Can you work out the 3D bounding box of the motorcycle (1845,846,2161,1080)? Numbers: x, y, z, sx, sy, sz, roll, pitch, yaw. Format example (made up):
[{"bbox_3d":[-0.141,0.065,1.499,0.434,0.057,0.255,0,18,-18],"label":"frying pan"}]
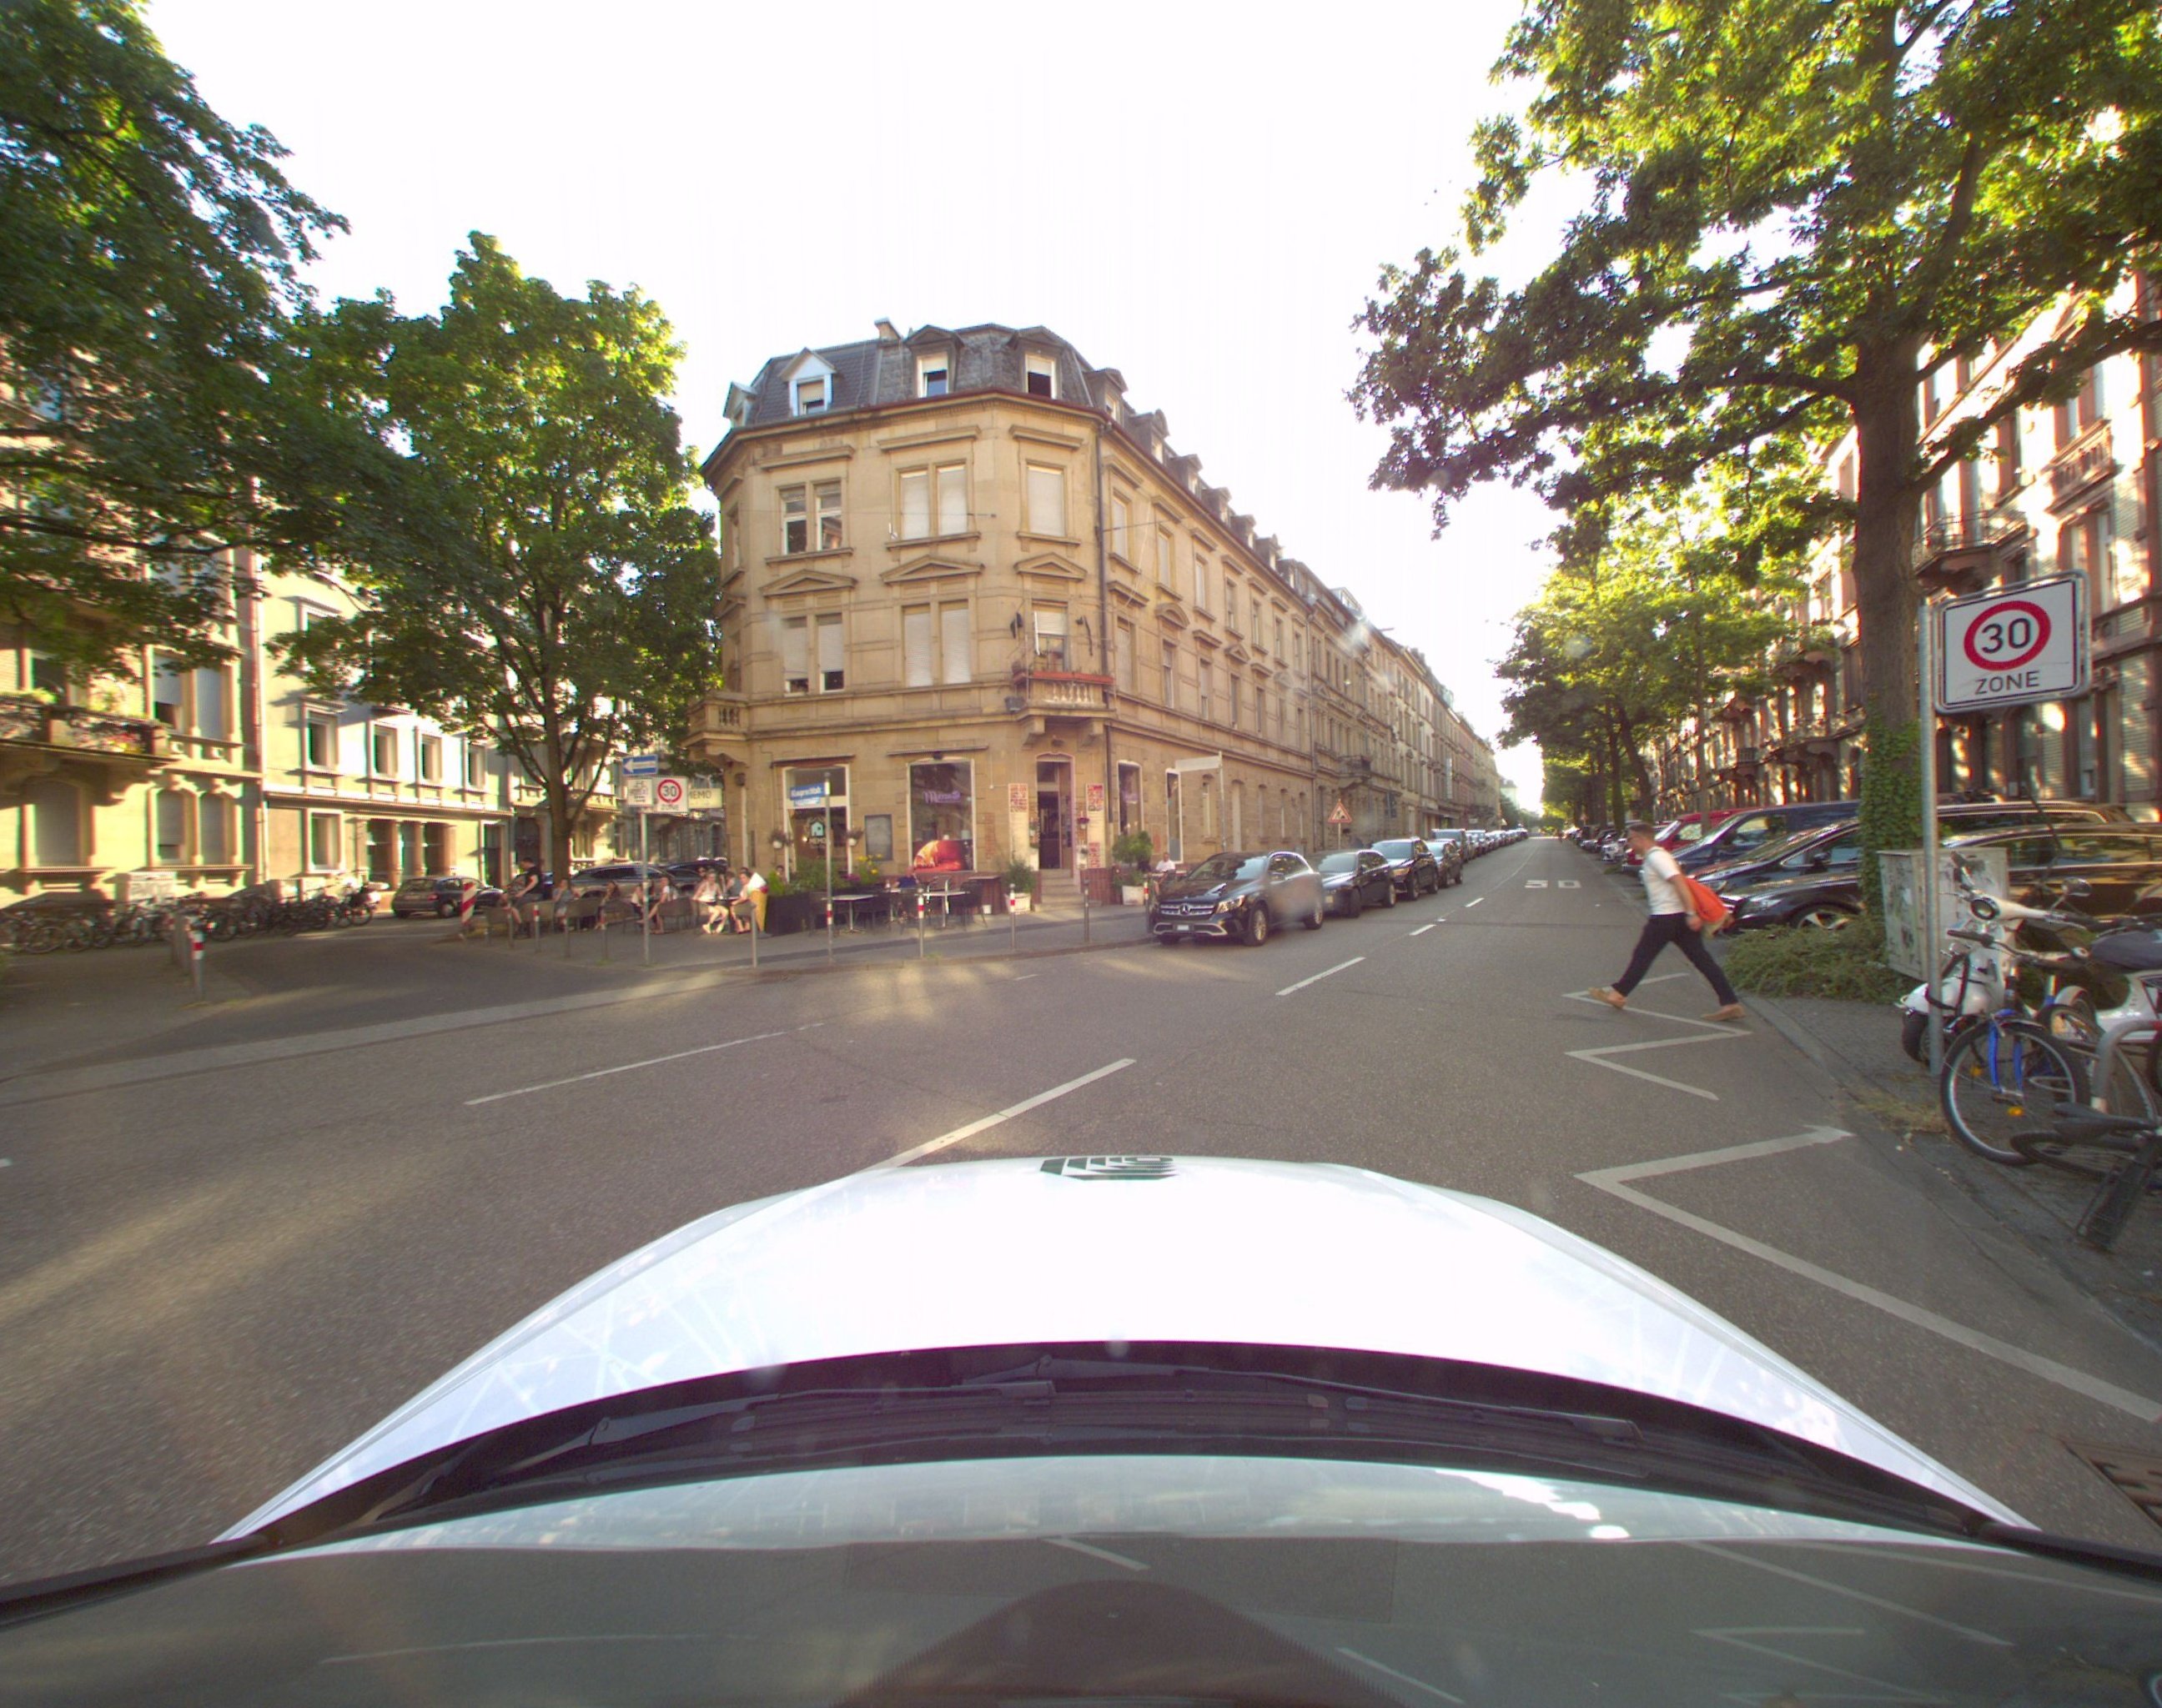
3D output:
[{"bbox_3d":[5.887,0.607,4.771,1.879,1.234,0.690,-5,-1,31],"label":"motorcycle"}]

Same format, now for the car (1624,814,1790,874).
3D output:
[{"bbox_3d":[20.539,-0.299,26.984,4.145,1.628,1.849,-4,-1,34],"label":"car"}]

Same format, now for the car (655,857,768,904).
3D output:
[{"bbox_3d":[-15.176,1.066,33.465,4.012,1.684,1.981,-2,0,-30],"label":"car"}]

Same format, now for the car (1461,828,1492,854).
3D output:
[{"bbox_3d":[29.848,-1.020,61.372,1.742,1.841,4.558,-3,0,29],"label":"car"}]

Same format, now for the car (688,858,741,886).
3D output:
[{"bbox_3d":[-23.603,1.118,52.612,1.803,1.684,3.747,-2,0,-3],"label":"car"}]

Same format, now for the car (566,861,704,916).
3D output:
[{"bbox_3d":[-14.873,1.106,27.211,3.852,1.562,1.784,-2,0,-35],"label":"car"}]

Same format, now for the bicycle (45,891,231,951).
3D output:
[{"bbox_3d":[-21.602,1.518,18.701,3.121,1.180,0.751,-2,0,-5],"label":"bicycle"}]

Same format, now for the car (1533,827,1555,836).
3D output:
[{"bbox_3d":[102.737,-4.950,180.640,3.948,1.859,1.762,-1,1,39],"label":"car"}]

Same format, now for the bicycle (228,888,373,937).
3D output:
[{"bbox_3d":[-21.816,1.622,22.814,3.121,1.180,0.751,-2,0,-5],"label":"bicycle"}]

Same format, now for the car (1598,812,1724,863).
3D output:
[{"bbox_3d":[26.683,-0.751,37.654,4.401,1.924,1.862,-5,0,28],"label":"car"}]

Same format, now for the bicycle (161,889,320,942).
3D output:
[{"bbox_3d":[-21.758,1.579,21.126,3.121,1.180,0.751,-2,0,-5],"label":"bicycle"}]

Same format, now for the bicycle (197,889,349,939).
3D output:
[{"bbox_3d":[-21.757,1.599,21.972,3.121,1.180,0.751,-2,0,-5],"label":"bicycle"}]

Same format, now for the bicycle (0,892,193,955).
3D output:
[{"bbox_3d":[-21.570,1.504,17.853,3.121,1.180,0.751,-2,0,-5],"label":"bicycle"}]

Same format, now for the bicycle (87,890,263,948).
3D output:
[{"bbox_3d":[-21.636,1.535,19.490,3.121,1.180,0.751,-2,0,-5],"label":"bicycle"}]

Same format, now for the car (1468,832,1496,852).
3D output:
[{"bbox_3d":[32.353,-1.017,65.664,1.742,1.473,4.085,-3,0,29],"label":"car"}]

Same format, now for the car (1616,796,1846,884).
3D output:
[{"bbox_3d":[17.840,-0.335,22.697,4.631,2.033,1.890,-4,-1,27],"label":"car"}]

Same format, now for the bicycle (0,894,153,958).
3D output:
[{"bbox_3d":[-21.499,1.516,17.011,3.121,1.180,0.751,-2,0,-5],"label":"bicycle"}]

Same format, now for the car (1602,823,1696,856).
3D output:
[{"bbox_3d":[30.682,-0.794,44.143,3.971,1.467,1.745,-4,-1,30],"label":"car"}]

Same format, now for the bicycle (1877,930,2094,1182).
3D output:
[{"bbox_3d":[4.438,0.906,3.975,1.417,0.927,0.351,-3,-2,-30],"label":"bicycle"}]

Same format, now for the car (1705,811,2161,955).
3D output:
[{"bbox_3d":[10.299,0.334,9.372,4.738,1.413,1.863,-4,-1,33],"label":"car"}]

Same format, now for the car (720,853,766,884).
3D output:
[{"bbox_3d":[-24.056,1.017,58.111,1.803,2.085,3.747,-2,0,-3],"label":"car"}]

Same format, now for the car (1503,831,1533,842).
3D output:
[{"bbox_3d":[65.526,-2.651,122.112,4.009,1.486,1.982,-1,-2,-27],"label":"car"}]

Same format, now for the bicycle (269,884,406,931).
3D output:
[{"bbox_3d":[-21.839,1.563,23.958,3.121,1.180,0.751,-2,0,-5],"label":"bicycle"}]

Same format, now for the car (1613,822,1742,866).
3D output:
[{"bbox_3d":[24.272,-0.398,33.317,3.971,1.434,1.806,-5,-2,30],"label":"car"}]

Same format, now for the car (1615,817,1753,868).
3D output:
[{"bbox_3d":[22.972,-0.400,31.217,3.972,1.628,1.816,-4,-1,29],"label":"car"}]

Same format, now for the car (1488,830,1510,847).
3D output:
[{"bbox_3d":[41.321,-1.533,80.496,1.742,1.473,4.085,-3,0,29],"label":"car"}]

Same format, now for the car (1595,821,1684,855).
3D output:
[{"bbox_3d":[31.699,-0.912,46.350,3.971,1.607,1.745,-4,-1,30],"label":"car"}]

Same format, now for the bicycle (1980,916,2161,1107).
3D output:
[{"bbox_3d":[5.956,0.776,4.050,1.911,0.927,0.357,-5,-2,30],"label":"bicycle"}]

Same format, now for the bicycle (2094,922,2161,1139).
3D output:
[{"bbox_3d":[4.864,0.820,3.425,0.350,0.927,1.535,-6,-2,38],"label":"bicycle"}]

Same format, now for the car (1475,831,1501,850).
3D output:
[{"bbox_3d":[35.476,-1.197,70.948,1.742,1.473,4.085,-3,0,29],"label":"car"}]

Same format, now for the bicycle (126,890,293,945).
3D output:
[{"bbox_3d":[-21.696,1.557,20.318,3.121,1.180,0.751,-2,0,-5],"label":"bicycle"}]

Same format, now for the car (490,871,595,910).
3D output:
[{"bbox_3d":[-22.064,1.450,33.537,1.919,1.376,3.747,-2,0,-3],"label":"car"}]

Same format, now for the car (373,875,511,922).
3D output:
[{"bbox_3d":[-22.034,1.486,28.284,1.919,1.376,3.747,-2,0,-3],"label":"car"}]

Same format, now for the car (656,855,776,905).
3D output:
[{"bbox_3d":[-13.841,0.951,31.133,4.001,1.684,1.986,-2,0,-21],"label":"car"}]

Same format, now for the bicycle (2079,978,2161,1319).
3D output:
[{"bbox_3d":[4.119,0.821,2.194,1.919,0.988,0.498,-4,-2,8],"label":"bicycle"}]

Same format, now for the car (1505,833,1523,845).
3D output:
[{"bbox_3d":[60.156,-2.104,113.087,1.974,1.486,4.025,-3,-2,30],"label":"car"}]

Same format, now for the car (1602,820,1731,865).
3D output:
[{"bbox_3d":[25.342,-0.500,35.456,4.302,1.556,1.862,-5,0,30],"label":"car"}]

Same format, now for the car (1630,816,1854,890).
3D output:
[{"bbox_3d":[16.302,0.006,20.394,4.015,1.510,1.891,-4,-1,30],"label":"car"}]
